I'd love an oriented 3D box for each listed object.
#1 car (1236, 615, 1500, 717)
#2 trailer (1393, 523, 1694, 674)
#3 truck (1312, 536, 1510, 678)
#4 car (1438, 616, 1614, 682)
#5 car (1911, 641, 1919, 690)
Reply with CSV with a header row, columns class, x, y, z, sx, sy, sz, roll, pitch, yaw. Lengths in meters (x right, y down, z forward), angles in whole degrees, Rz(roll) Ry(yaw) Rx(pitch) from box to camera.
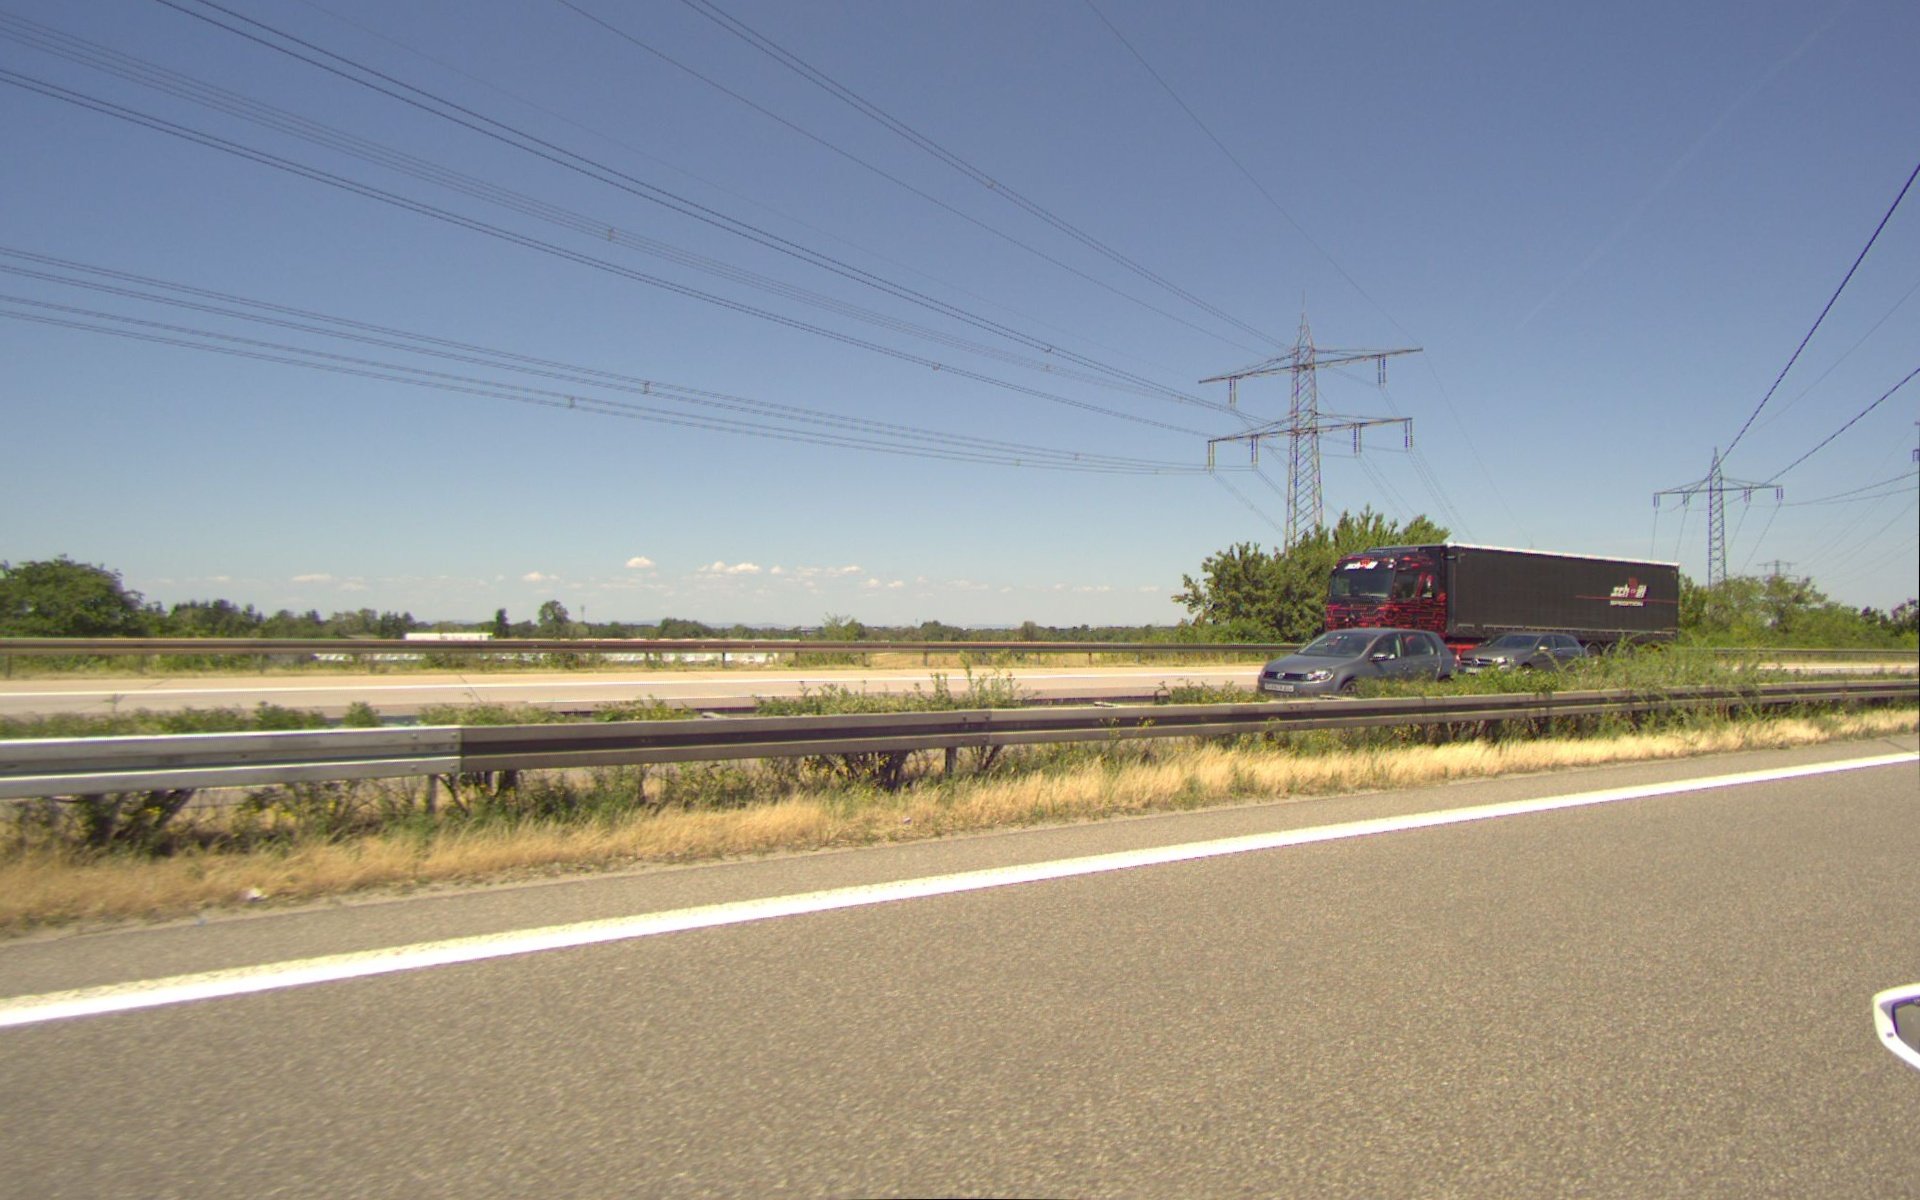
class,x,y,z,sx,sy,sz,roll,pitch,yaw
car,7.549,1.125,18.448,4.957,1.640,1.820,1,0,-30
trailer,20.790,0.031,35.193,13.700,4.613,2.636,1,0,-30
truck,14.065,0.224,31.286,5.920,4.036,2.636,1,0,-30
car,15.534,1.291,27.489,4.957,1.639,1.935,1,0,-30
car,35.201,2.285,34.749,4.957,1.639,1.984,1,0,-30
